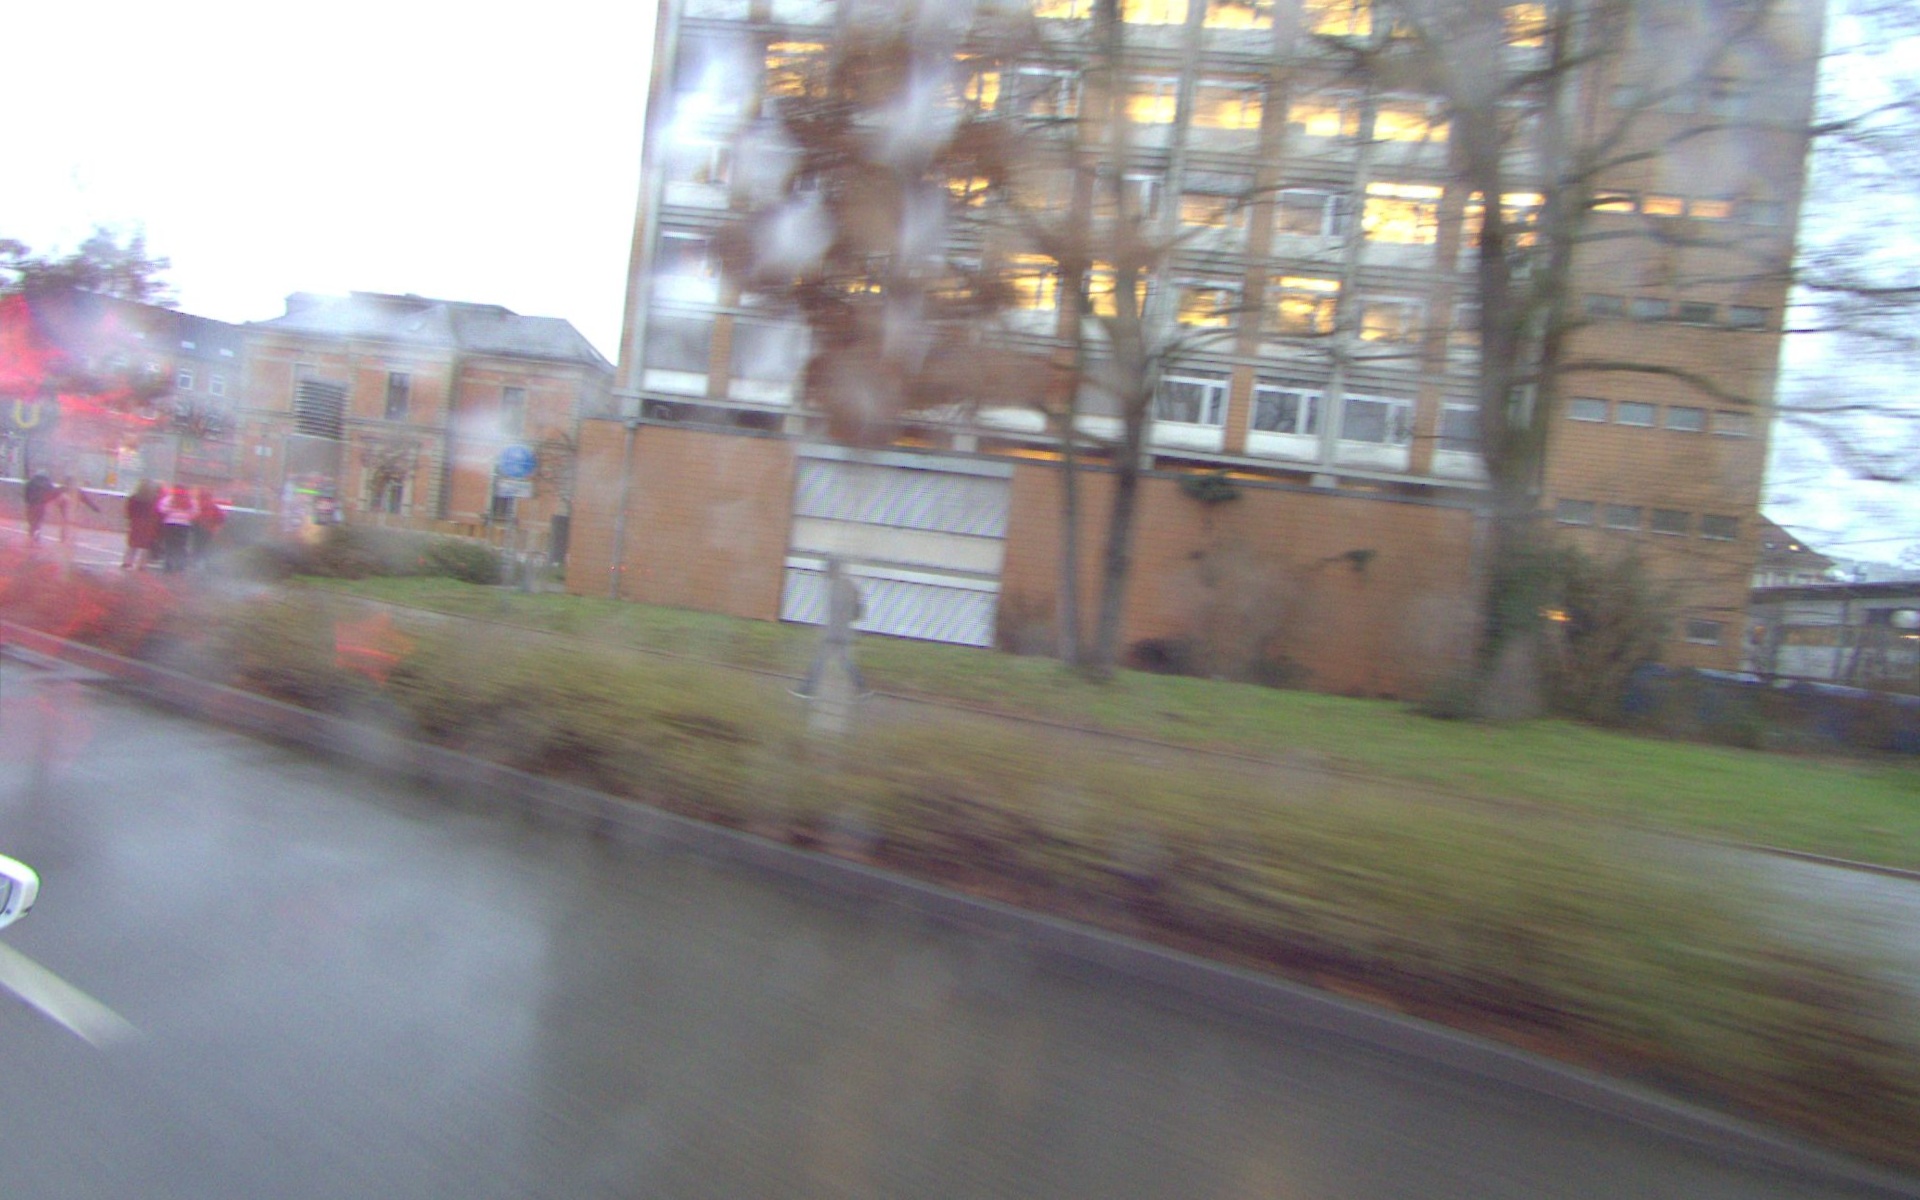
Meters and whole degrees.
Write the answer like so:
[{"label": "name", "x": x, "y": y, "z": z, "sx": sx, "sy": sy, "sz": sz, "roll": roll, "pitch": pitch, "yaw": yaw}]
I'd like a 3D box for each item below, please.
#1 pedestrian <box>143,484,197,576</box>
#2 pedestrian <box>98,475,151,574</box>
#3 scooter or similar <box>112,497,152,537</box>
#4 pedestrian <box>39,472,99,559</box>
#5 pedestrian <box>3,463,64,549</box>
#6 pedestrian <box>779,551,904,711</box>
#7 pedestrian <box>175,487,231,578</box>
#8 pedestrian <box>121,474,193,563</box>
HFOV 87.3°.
[{"label": "pedestrian", "x": -15.341, "y": -1.359, "z": 19.546, "sx": 0.662, "sy": 1.711, "sz": 0.606, "roll": 4, "pitch": 4, "yaw": -31}, {"label": "pedestrian", "x": -15.977, "y": -1.432, "z": 19.244, "sx": 0.579, "sy": 1.805, "sz": 0.763, "roll": 4, "pitch": 2, "yaw": -30}, {"label": "scooter or similar", "x": -27.705, "y": -2.763, "z": 33.687, "sx": 0.507, "sy": 1.229, "sz": 1.376, "roll": 6, "pitch": 1, "yaw": -20}, {"label": "pedestrian", "x": -22.364, "y": -2.118, "z": 25.271, "sx": 0.801, "sy": 2.039, "sz": 0.753, "roll": 8, "pitch": 2, "yaw": -31}, {"label": "pedestrian", "x": -22.847, "y": -2.320, "z": 24.828, "sx": 0.801, "sy": 1.954, "sz": 0.753, "roll": 8, "pitch": 2, "yaw": -31}, {"label": "pedestrian", "x": -1.383, "y": 0.348, "z": 11.776, "sx": 1.052, "sy": 1.710, "sz": 0.808, "roll": 7, "pitch": 3, "yaw": 28}, {"label": "pedestrian", "x": -15.220, "y": -1.347, "z": 20.245, "sx": 0.712, "sy": 1.709, "sz": 0.754, "roll": 5, "pitch": 2, "yaw": -31}, {"label": "pedestrian", "x": -17.677, "y": -1.776, "z": 22.147, "sx": 0.735, "sy": 1.814, "sz": 0.853, "roll": 7, "pitch": 1, "yaw": 17}]
